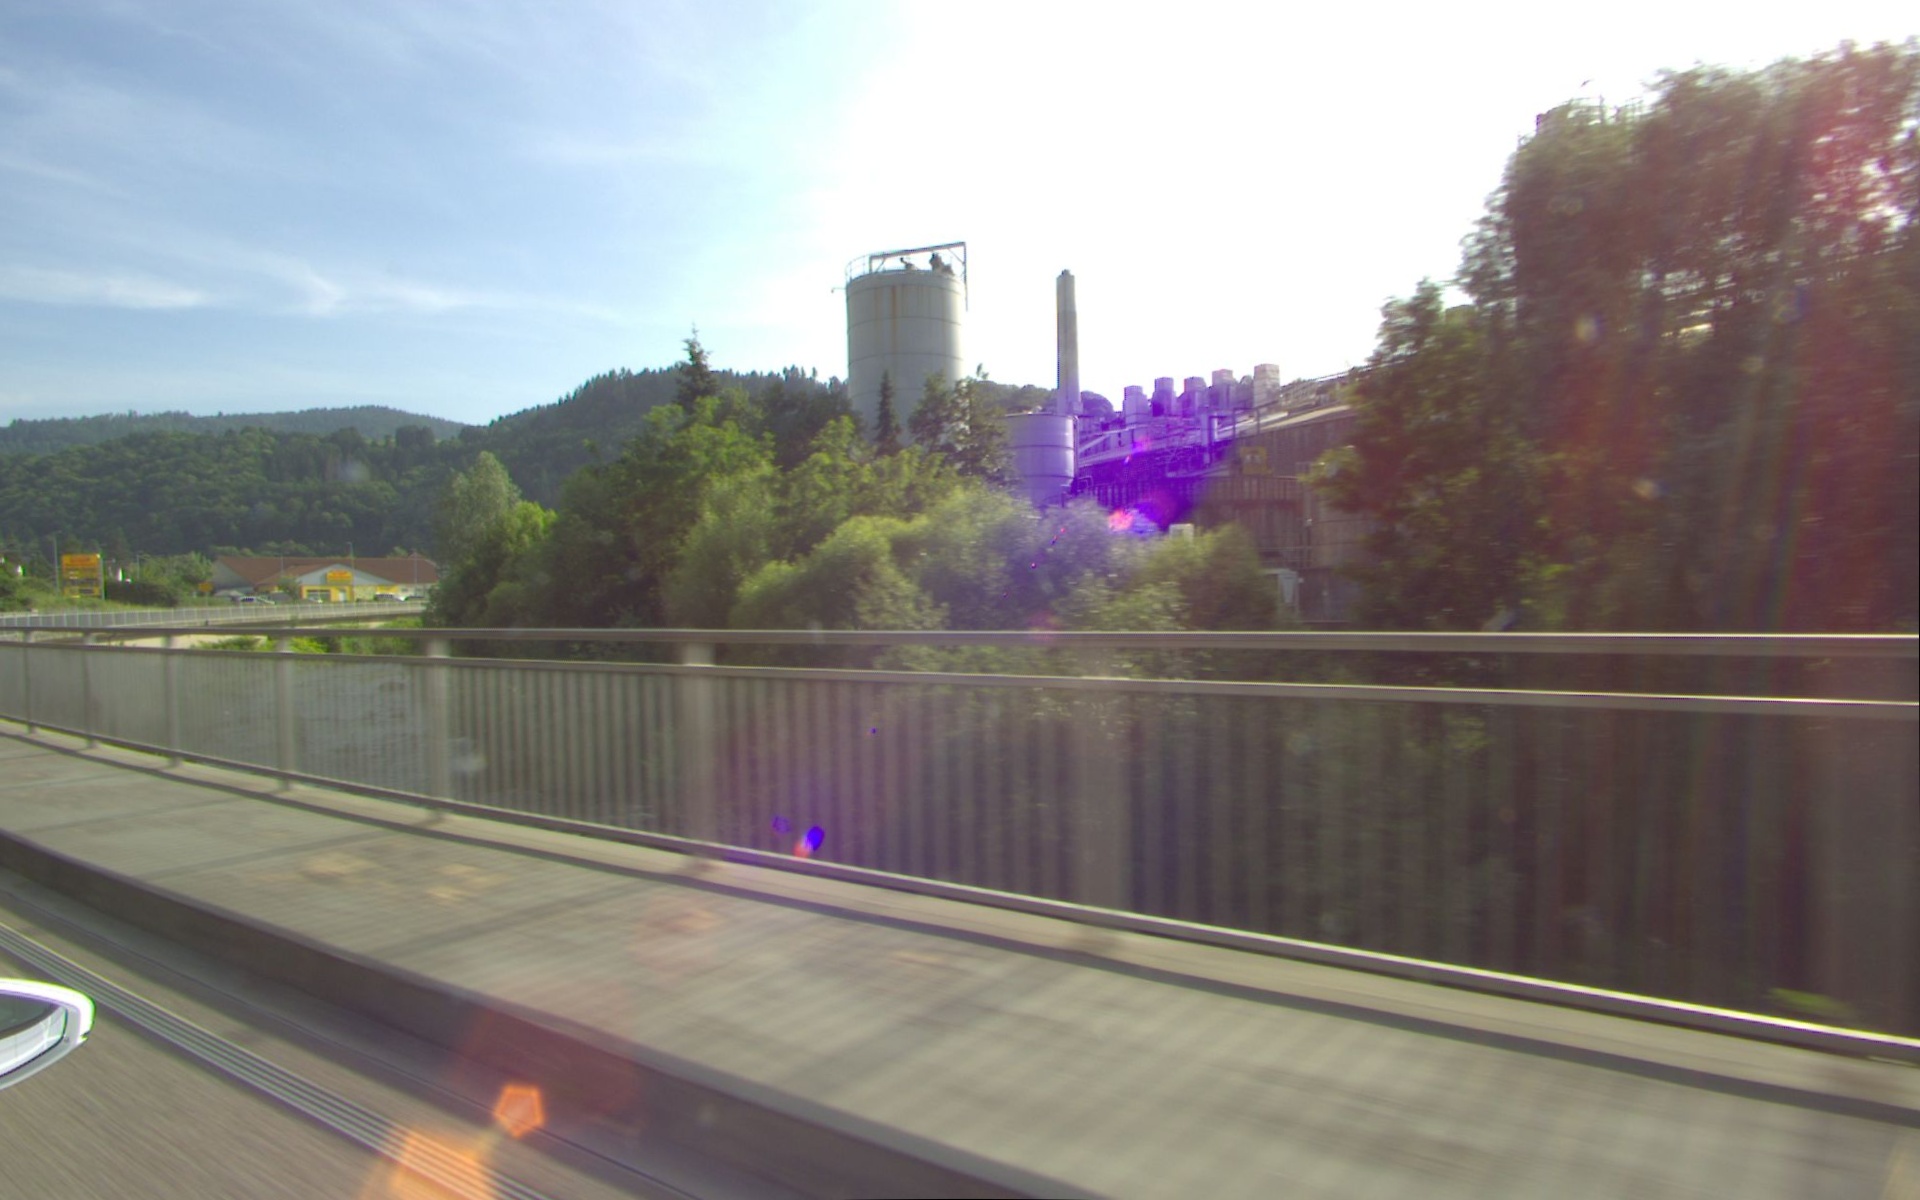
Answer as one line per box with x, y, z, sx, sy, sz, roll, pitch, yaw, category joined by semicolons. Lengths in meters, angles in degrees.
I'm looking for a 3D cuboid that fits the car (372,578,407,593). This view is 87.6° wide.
-83.800;-2.093;147.120;3.922;2.038;2.002;1;-3;0;car
